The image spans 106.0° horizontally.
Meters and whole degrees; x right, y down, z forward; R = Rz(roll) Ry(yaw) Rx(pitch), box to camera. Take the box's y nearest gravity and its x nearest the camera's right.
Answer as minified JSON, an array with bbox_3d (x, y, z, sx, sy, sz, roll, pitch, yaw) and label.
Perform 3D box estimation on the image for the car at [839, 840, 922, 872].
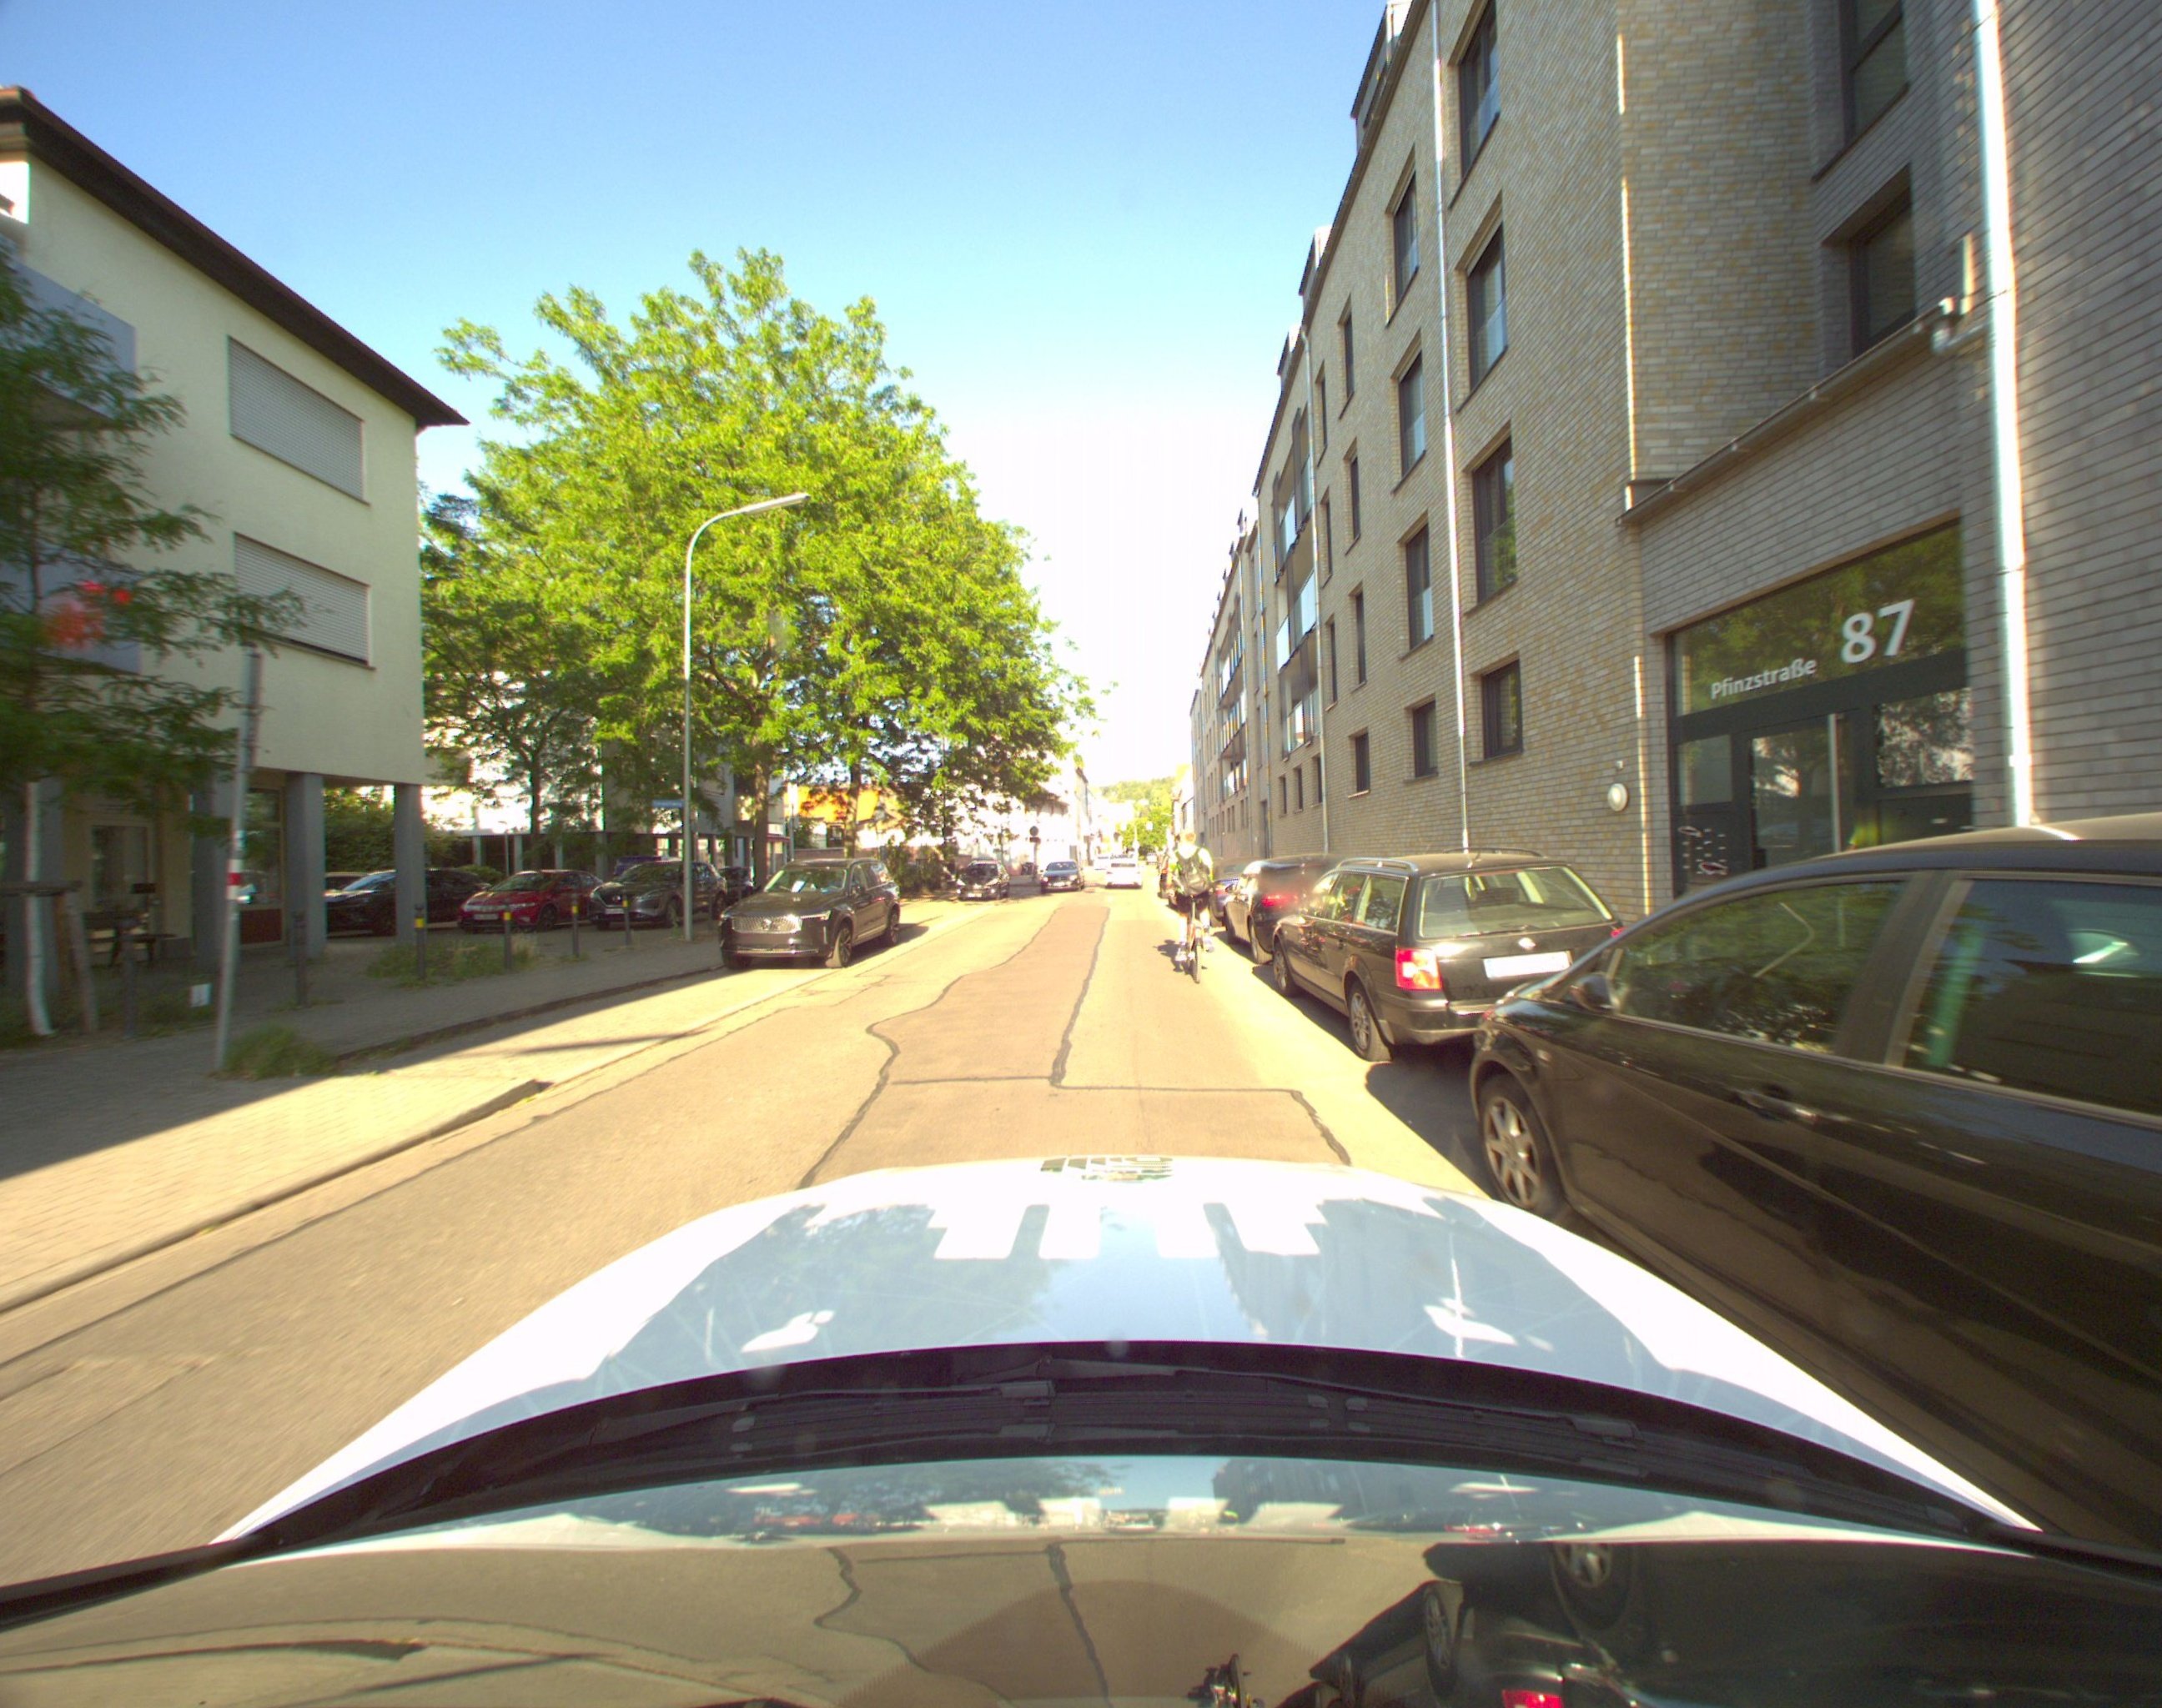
[{"bbox_3d":[-10.545,0.109,42.953,3.882,1.575,1.712,-1,0,5],"label":"car"}]

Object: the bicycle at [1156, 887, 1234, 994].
[{"bbox_3d":[1.396,1.022,10.391,0.696,1.130,2.403,-1,-1,1],"label":"bicycle"}]

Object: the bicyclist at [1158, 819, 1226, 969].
[{"bbox_3d":[1.387,0.484,10.330,0.696,1.790,1.041,-1,-1,1],"label":"bicyclist"}]

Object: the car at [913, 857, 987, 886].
[{"bbox_3d":[-7.553,1.017,47.229,3.885,1.575,1.711,-1,0,2],"label":"car"}]

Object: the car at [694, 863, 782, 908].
[{"bbox_3d":[-13.157,1.180,31.493,1.852,1.587,3.670,0,0,0],"label":"car"}]

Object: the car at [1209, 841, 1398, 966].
[{"bbox_3d":[3.277,0.665,12.992,1.851,1.587,4.623,-2,0,2],"label":"car"}]

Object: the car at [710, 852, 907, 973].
[{"bbox_3d":[-4.654,0.893,14.713,1.846,1.791,4.609,-1,0,2],"label":"car"}]

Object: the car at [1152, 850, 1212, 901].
[{"bbox_3d":[3.884,0.802,32.060,1.850,1.702,4.624,-5,-1,2],"label":"car"}]

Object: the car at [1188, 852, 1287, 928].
[{"bbox_3d":[3.437,0.748,18.488,1.503,1.444,3.529,-5,-1,0],"label":"car"}]

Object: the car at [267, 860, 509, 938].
[{"bbox_3d":[-16.189,0.965,19.438,1.852,1.587,4.619,0,0,-1],"label":"car"}]

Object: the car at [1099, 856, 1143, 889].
[{"bbox_3d":[1.871,0.867,39.196,1.837,1.491,4.142,-1,-1,-1],"label":"car"}]

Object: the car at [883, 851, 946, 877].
[{"bbox_3d":[-10.919,0.651,53.692,3.897,1.575,1.705,-1,0,-7],"label":"car"}]

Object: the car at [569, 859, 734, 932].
[{"bbox_3d":[-10.563,0.945,20.505,1.853,1.587,4.617,0,0,-3],"label":"car"}]

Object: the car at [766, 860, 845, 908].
[{"bbox_3d":[-10.654,1.113,31.797,1.785,1.689,3.963,0,0,-1],"label":"car"}]

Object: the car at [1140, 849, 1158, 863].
[{"bbox_3d":[9.288,0.303,111.573,1.848,1.791,4.604,-1,0,-2],"label":"car"}]

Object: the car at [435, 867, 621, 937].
[{"bbox_3d":[-13.138,1.071,19.701,1.713,1.449,4.141,0,0,-1],"label":"car"}]

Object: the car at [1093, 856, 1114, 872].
[{"bbox_3d":[2.499,1.108,88.864,1.937,1.587,4.626,-5,-1,4],"label":"car"}]

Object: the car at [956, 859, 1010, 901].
[{"bbox_3d":[-3.941,1.016,33.187,1.699,1.575,3.913,-1,0,0],"label":"car"}]

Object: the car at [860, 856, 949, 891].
[{"bbox_3d":[-8.655,0.957,40.143,3.879,1.575,1.714,-1,0,8],"label":"car"}]

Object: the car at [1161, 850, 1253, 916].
[{"bbox_3d":[3.486,0.772,23.387,1.851,1.587,4.621,-5,-1,0],"label":"car"}]

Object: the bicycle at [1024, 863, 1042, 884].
[{"bbox_3d":[-2.831,1.135,48.261,0.832,1.217,2.841,-1,0,0],"label":"bicycle"}]

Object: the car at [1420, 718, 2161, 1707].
[{"bbox_3d":[2.541,0.622,2.160,1.658,1.702,3.914,-1,0,1],"label":"car"}]

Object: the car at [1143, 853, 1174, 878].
[{"bbox_3d":[5.511,0.804,58.244,1.850,1.587,4.624,-5,-1,2],"label":"car"}]

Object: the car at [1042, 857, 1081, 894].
[{"bbox_3d":[-0.869,0.938,37.562,1.659,1.575,3.913,-1,0,0],"label":"car"}]
